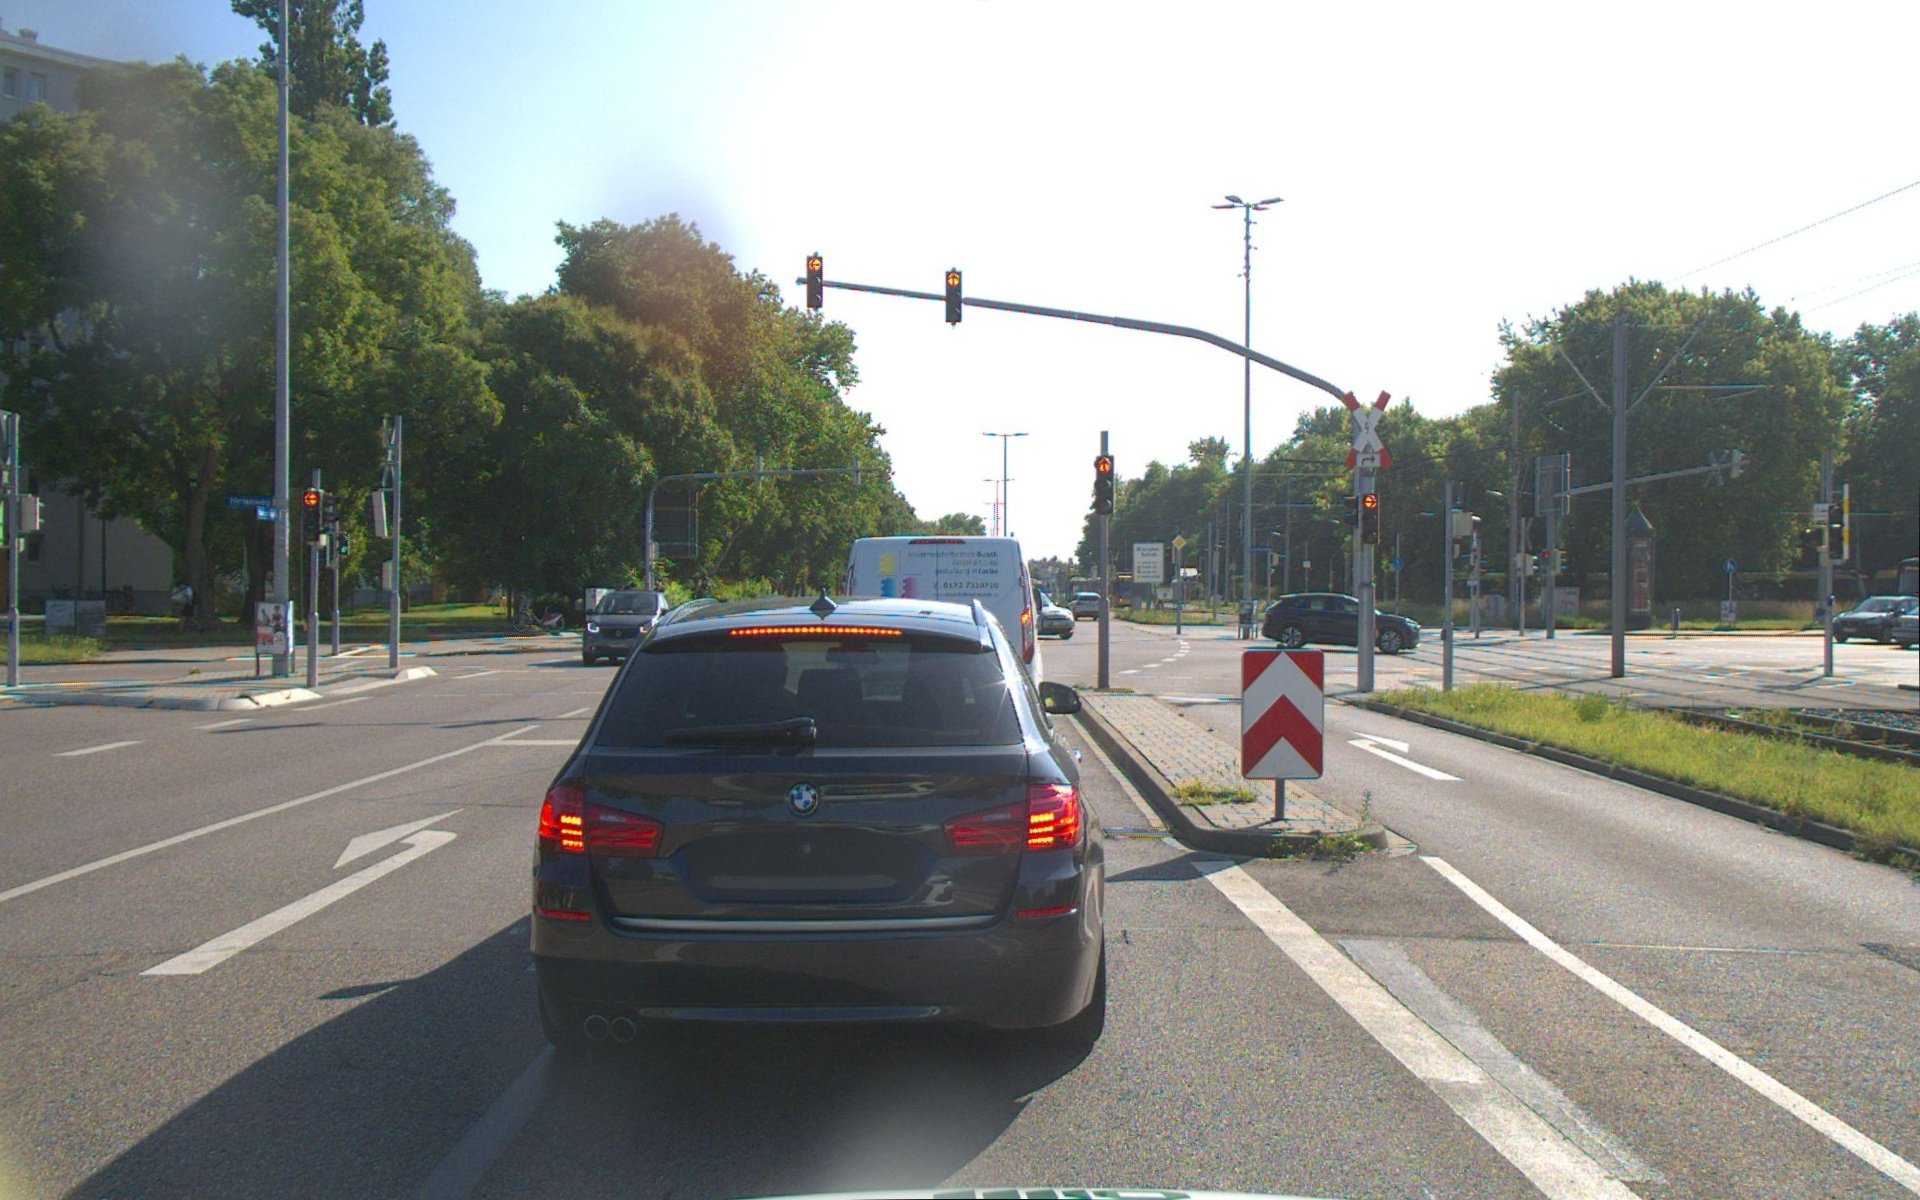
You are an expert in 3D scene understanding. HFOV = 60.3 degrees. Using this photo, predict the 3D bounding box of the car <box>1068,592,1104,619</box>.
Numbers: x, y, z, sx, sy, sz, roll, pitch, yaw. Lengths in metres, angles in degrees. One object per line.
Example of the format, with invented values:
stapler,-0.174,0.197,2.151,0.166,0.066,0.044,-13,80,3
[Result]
car,7.390,0.301,97.121,1.756,1.512,3.899,0,0,-1

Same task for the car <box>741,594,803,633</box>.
car,-7.088,0.484,62.744,1.742,1.439,4.245,0,0,1

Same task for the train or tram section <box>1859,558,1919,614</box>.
train or tram section,63.747,-0.924,108.475,2.981,3.642,12.231,0,0,0

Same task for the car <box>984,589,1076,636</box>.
car,2.164,0.363,51.918,1.579,1.408,3.505,0,0,-23

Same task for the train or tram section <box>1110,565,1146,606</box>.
train or tram section,15.894,-1.270,157.173,2.738,3.681,12.960,1,0,3

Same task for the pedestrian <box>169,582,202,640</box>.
pedestrian,-23.485,0.324,50.151,0.610,1.743,0.705,0,0,11

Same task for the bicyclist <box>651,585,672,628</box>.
bicyclist,-11.152,0.244,61.757,0.594,1.587,0.603,0,0,7

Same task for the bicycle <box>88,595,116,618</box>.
bicycle,-34.339,0.266,66.181,0.668,0.891,2.455,0,1,-35

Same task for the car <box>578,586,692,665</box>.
car,-7.028,0.517,36.117,1.599,1.587,3.677,-2,0,2

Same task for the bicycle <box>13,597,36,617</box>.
bicycle,-36.601,0.264,64.687,0.578,0.721,2.211,0,1,-35

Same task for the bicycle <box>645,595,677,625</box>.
bicycle,-11.162,0.364,61.818,0.606,1.058,2.073,0,0,7

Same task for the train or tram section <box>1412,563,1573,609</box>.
train or tram section,43.526,-1.129,135.476,12.170,3.642,3.048,0,0,31

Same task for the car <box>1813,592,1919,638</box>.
car,32.835,0.507,58.936,4.792,1.590,2.025,0,0,-29

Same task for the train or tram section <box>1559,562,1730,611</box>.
train or tram section,53.288,-1.035,128.965,11.984,3.642,3.043,0,0,36

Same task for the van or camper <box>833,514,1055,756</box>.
van or camper,-0.111,0.295,16.871,1.952,2.133,4.599,0,0,1

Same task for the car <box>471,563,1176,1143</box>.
car,-0.380,0.660,6.423,1.864,1.532,4.064,0,0,-1

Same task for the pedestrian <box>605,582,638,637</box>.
pedestrian,-11.148,0.313,54.490,0.798,1.782,0.932,0,0,5

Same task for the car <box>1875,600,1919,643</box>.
car,32.802,0.703,55.257,4.347,1.377,1.981,0,0,-29

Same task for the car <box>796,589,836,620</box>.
car,-7.433,0.224,85.776,1.667,1.490,4.369,-1,0,0

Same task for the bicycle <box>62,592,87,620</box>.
bicycle,-35.098,0.242,65.525,0.606,1.085,1.892,1,-2,-37

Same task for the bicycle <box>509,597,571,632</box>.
bicycle,-13.807,0.487,54.428,1.870,1.138,0.632,0,0,-1

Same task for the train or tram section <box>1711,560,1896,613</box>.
train or tram section,60.930,-0.948,119.876,3.017,3.642,12.087,0,0,-34

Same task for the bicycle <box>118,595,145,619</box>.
bicycle,-33.470,0.265,66.805,0.663,0.936,2.377,0,0,-35

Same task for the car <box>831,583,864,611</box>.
car,-6.806,-0.182,100.302,1.709,1.589,4.000,-2,0,0

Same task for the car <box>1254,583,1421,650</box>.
car,10.899,0.447,47.743,4.511,1.752,1.650,2,2,18

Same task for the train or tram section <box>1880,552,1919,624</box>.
train or tram section,53.245,-0.608,87.929,11.721,3.642,3.015,0,0,-37
